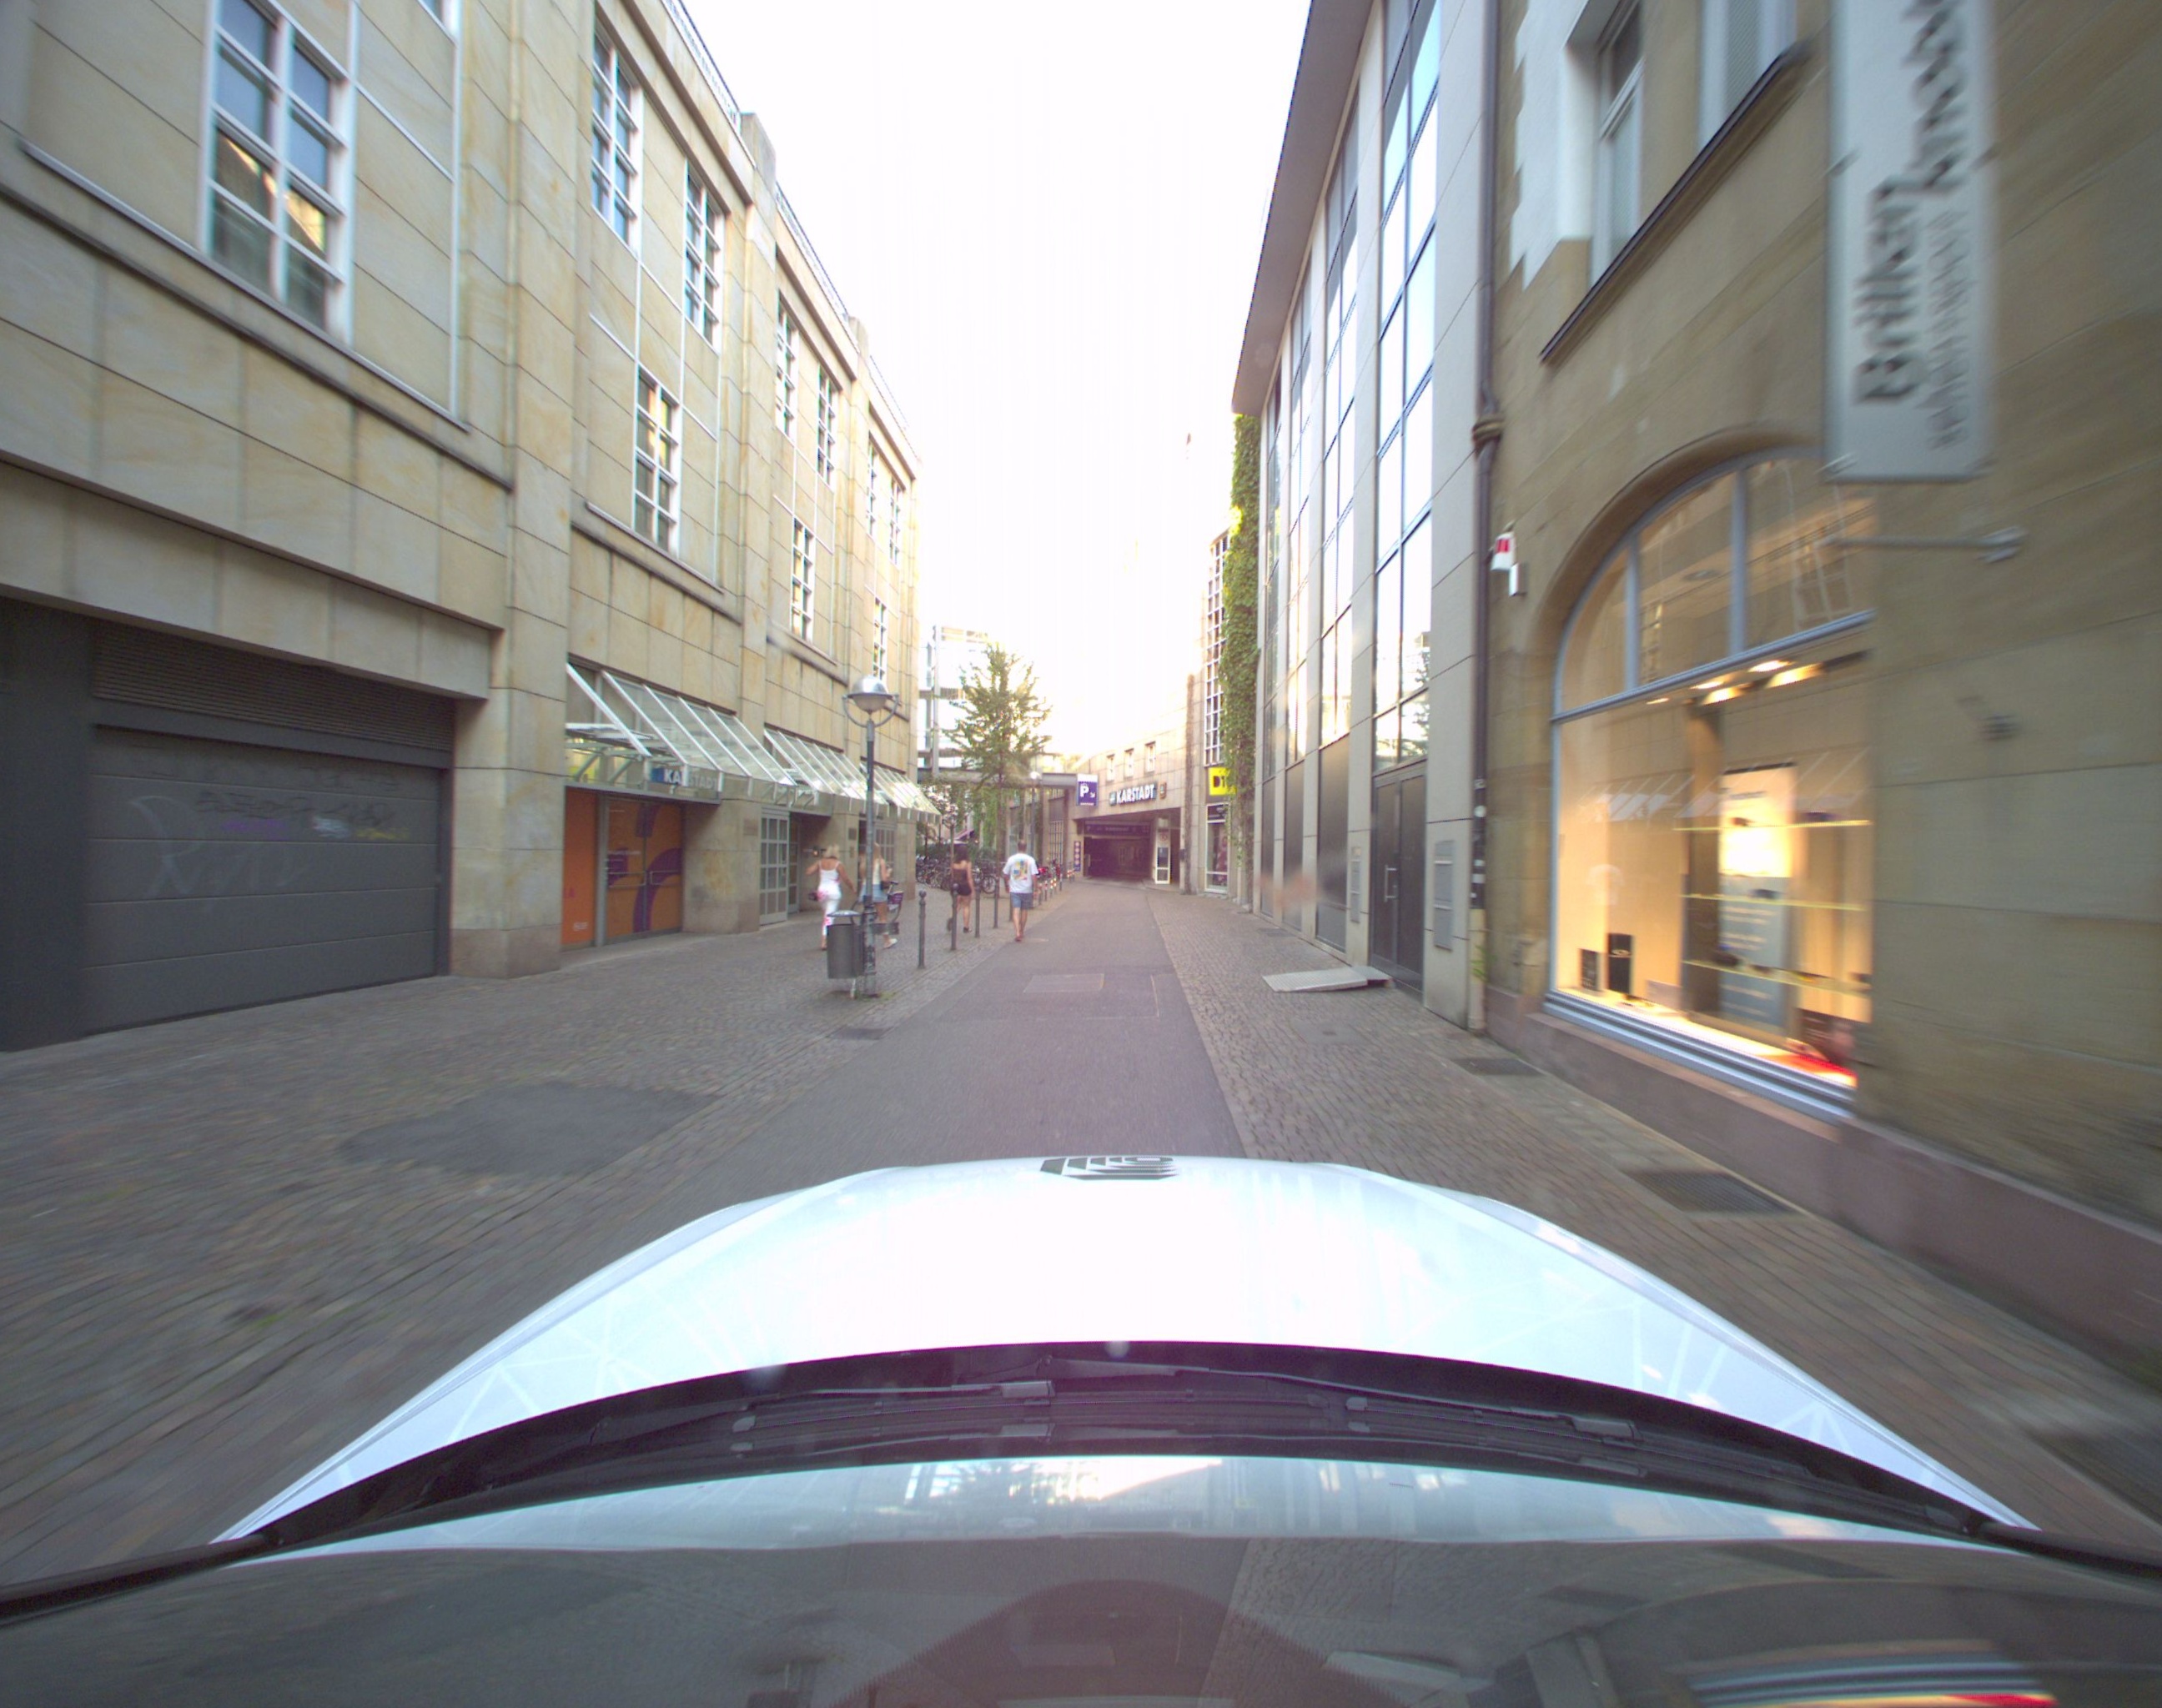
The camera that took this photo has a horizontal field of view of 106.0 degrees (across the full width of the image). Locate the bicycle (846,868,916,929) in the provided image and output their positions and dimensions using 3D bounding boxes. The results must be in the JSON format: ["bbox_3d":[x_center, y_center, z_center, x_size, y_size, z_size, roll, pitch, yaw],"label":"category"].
[{"bbox_3d":[-4.072,0.881,16.714,0.517,1.138,1.773,0,0,19],"label":"bicycle"}]

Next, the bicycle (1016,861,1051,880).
[{"bbox_3d":[-2.551,0.870,43.739,1.853,0.982,0.461,0,0,-18],"label":"bicycle"}]

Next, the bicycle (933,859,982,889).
[{"bbox_3d":[-5.026,0.804,33.154,1.878,1.177,0.530,0,0,-20],"label":"bicycle"}]

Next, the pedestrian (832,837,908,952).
[{"bbox_3d":[-3.314,0.608,12.865,0.801,1.729,0.952,1,0,12],"label":"pedestrian"}]

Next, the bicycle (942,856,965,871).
[{"bbox_3d":[-10.304,0.733,65.931,1.778,1.190,0.583,0,0,-18],"label":"bicycle"}]

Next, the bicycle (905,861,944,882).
[{"bbox_3d":[-7.685,0.854,40.006,1.831,1.043,0.530,0,0,-20],"label":"bicycle"}]

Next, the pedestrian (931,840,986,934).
[{"bbox_3d":[-2.402,0.633,16.101,0.780,1.795,0.975,0,0,11],"label":"pedestrian"}]

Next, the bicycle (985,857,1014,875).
[{"bbox_3d":[-5.271,0.775,52.505,1.778,1.114,0.539,0,0,-18],"label":"bicycle"}]

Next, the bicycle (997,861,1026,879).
[{"bbox_3d":[-3.985,0.907,46.573,1.543,1.049,0.572,0,0,-18],"label":"bicycle"}]

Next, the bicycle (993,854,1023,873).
[{"bbox_3d":[-4.496,0.595,50.294,1.778,1.114,0.539,1,0,-18],"label":"bicycle"}]

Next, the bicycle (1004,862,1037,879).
[{"bbox_3d":[-3.304,0.900,44.618,1.778,0.904,0.461,0,0,-18],"label":"bicycle"}]

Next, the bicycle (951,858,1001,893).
[{"bbox_3d":[-3.853,0.774,29.983,1.772,1.230,0.530,0,0,-20],"label":"bicycle"}]

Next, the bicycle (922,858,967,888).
[{"bbox_3d":[-5.762,0.796,34.387,1.839,1.225,0.530,0,0,-20],"label":"bicycle"}]

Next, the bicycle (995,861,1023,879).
[{"bbox_3d":[-4.223,0.928,47.980,1.543,1.049,0.572,0,0,-18],"label":"bicycle"}]

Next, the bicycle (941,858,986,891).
[{"bbox_3d":[-4.504,0.790,31.287,1.659,1.230,0.530,0,0,-20],"label":"bicycle"}]

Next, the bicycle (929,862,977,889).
[{"bbox_3d":[-5.278,0.883,33.694,1.900,1.052,0.530,0,0,-20],"label":"bicycle"}]

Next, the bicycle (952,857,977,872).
[{"bbox_3d":[-8.664,0.761,60.614,1.776,1.114,0.540,0,0,-15],"label":"bicycle"}]

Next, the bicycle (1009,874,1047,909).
[{"bbox_3d":[-1.507,1.065,23.457,0.489,0.939,1.667,2,0,18],"label":"bicycle"}]

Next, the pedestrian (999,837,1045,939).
[{"bbox_3d":[-1.080,0.610,15.043,0.739,1.822,0.879,0,0,2],"label":"pedestrian"}]

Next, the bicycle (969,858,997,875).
[{"bbox_3d":[-6.602,0.841,54.813,1.778,1.114,0.539,0,0,-18],"label":"bicycle"}]

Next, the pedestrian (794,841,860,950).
[{"bbox_3d":[-4.052,0.639,13.035,0.671,1.664,0.862,1,0,9],"label":"pedestrian"}]

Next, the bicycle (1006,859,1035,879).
[{"bbox_3d":[-3.403,0.834,45.574,1.543,1.049,0.572,0,0,-18],"label":"bicycle"}]

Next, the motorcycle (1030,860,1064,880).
[{"bbox_3d":[-1.747,0.827,42.034,1.667,1.050,0.461,0,0,-18],"label":"motorcycle"}]

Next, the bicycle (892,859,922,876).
[{"bbox_3d":[-10.576,0.813,49.514,1.785,1.019,0.478,0,0,-20],"label":"bicycle"}]

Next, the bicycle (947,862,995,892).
[{"bbox_3d":[-4.345,0.900,32.174,1.842,1.122,0.530,0,0,-20],"label":"bicycle"}]

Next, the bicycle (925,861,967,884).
[{"bbox_3d":[-6.331,0.870,38.197,1.883,1.043,0.530,0,0,-20],"label":"bicycle"}]

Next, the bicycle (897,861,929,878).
[{"bbox_3d":[-10.043,0.932,48.656,1.785,1.019,0.478,0,0,-20],"label":"bicycle"}]

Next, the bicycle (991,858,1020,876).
[{"bbox_3d":[-4.779,0.793,51.455,1.778,1.114,0.539,0,0,-18],"label":"bicycle"}]

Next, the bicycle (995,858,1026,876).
[{"bbox_3d":[-4.266,0.778,49.158,1.778,1.114,0.539,0,0,-18],"label":"bicycle"}]
